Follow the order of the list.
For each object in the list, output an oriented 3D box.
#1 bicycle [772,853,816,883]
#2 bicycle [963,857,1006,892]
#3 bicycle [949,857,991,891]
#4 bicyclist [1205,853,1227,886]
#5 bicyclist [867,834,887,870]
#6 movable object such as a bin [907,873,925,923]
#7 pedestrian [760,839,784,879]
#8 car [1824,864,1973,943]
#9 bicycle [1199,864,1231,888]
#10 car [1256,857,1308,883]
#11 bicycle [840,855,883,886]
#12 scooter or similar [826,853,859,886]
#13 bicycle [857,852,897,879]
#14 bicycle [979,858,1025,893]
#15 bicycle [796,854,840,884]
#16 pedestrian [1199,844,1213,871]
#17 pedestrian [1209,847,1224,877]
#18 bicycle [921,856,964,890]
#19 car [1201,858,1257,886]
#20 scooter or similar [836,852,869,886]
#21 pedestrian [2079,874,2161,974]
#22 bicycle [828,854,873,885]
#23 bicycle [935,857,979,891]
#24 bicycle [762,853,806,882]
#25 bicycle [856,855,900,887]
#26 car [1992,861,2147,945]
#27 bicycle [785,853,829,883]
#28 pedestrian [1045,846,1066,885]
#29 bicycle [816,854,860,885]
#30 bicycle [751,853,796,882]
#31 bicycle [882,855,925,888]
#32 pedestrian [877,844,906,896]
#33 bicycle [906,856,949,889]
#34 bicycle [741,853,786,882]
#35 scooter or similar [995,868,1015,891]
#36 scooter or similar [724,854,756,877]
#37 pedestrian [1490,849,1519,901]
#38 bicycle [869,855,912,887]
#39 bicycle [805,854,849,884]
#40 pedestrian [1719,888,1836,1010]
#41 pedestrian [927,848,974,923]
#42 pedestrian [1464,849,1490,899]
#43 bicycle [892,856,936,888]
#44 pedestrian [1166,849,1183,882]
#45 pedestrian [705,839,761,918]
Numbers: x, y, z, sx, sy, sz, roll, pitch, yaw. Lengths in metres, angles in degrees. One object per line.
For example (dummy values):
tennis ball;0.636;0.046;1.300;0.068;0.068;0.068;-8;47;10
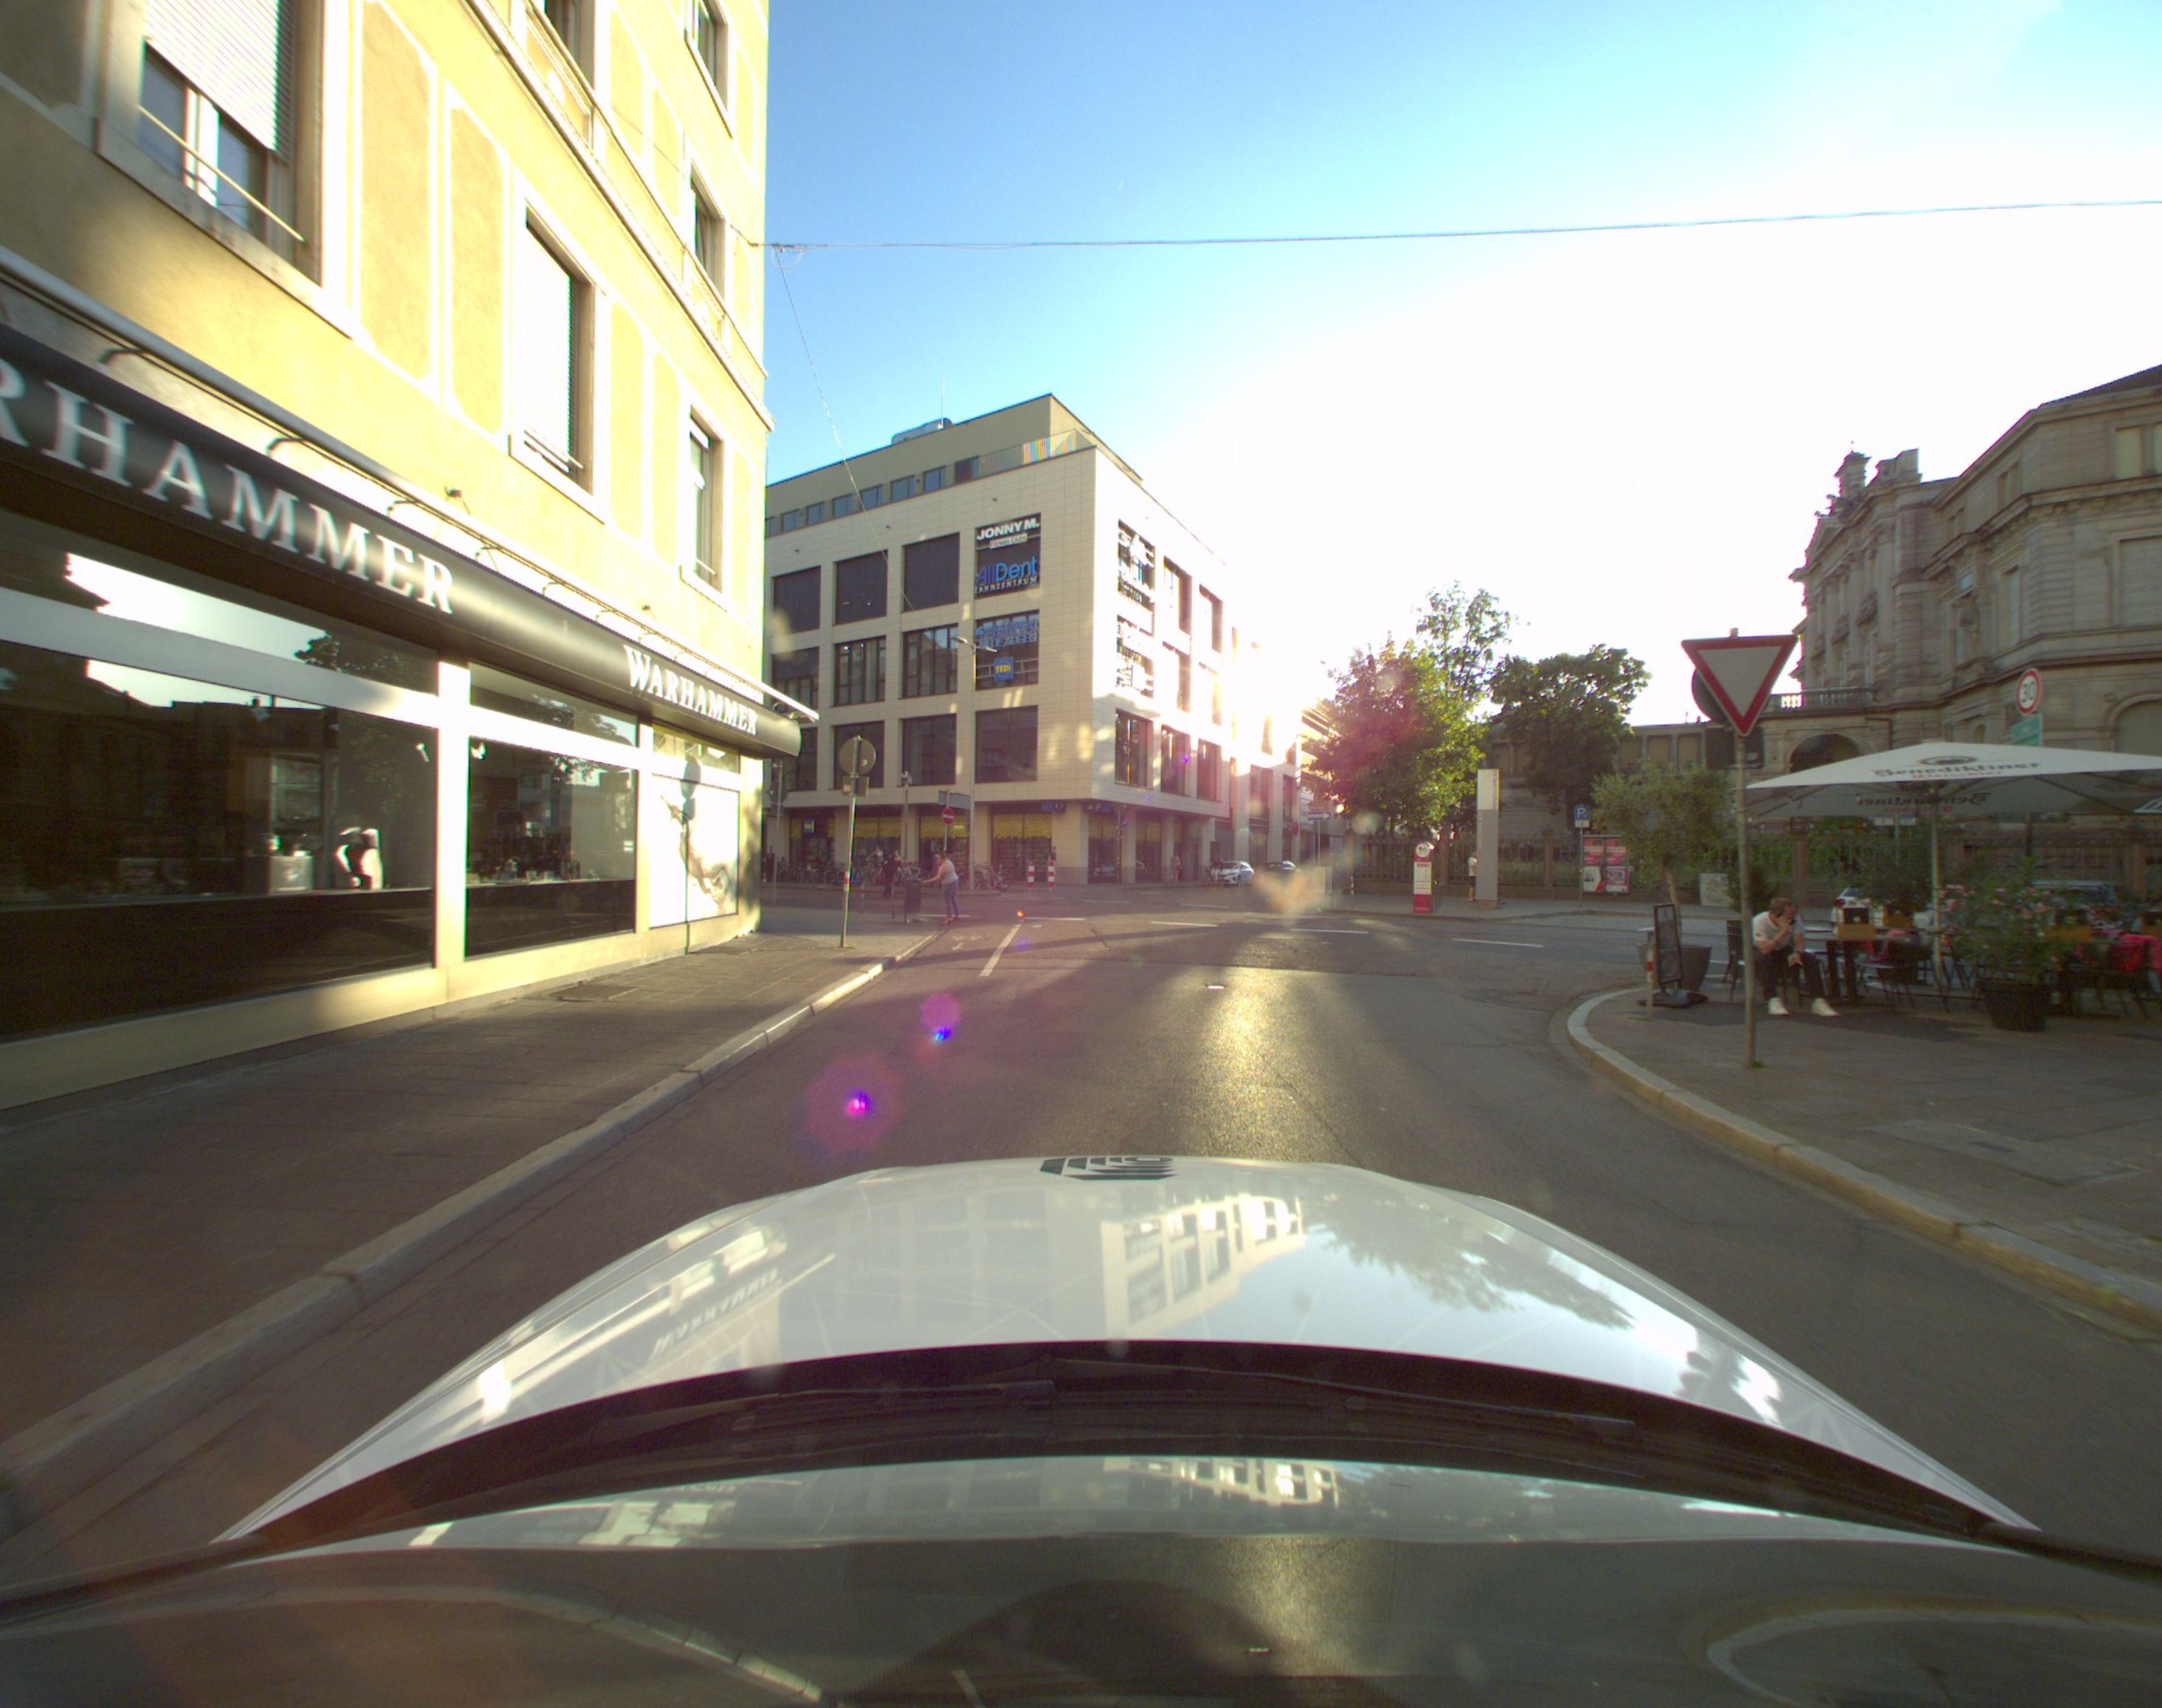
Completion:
bicycle;-12.606;0.606;35.804;0.507;1.255;1.991;1;-1;28
bicycle;-3.614;0.769;30.719;0.575;1.255;2.056;1;-1;26
bicycle;-4.198;0.758;30.965;0.507;1.255;1.990;1;-1;26
bicyclist;6.605;0.766;39.883;0.652;1.570;0.868;1;-1;42
bicyclist;-9.765;-0.110;38.991;0.636;1.695;0.688;1;0;30
movable object such as a bin;-3.543;0.944;17.524;0.359;1.063;0.355;1;-1;-12
pedestrian;-13.291;0.227;34.980;0.636;1.695;0.688;1;0;32
car;19.785;1.112;19.674;3.925;1.446;1.737;-4;2;-32
bicycle;6.548;1.081;39.817;0.657;1.138;1.833;1;-1;42
car;13.128;0.988;53.028;1.865;1.598;4.718;1;0;32
bicycle;-9.076;0.670;33.789;0.507;1.255;1.990;1;-1;27
scooter or similar;-9.088;0.599;31.108;0.383;1.212;1.278;1;-1;28
bicycle;-9.759;0.547;38.941;1.954;1.255;0.616;1;-1;29
bicycle;-2.916;0.783;30.415;0.658;1.255;2.153;1;-1;26
bicycle;-11.332;0.630;35.197;0.507;1.255;1.991;1;-1;28
pedestrian;7.751;0.226;50.532;0.665;1.675;0.651;1;0;27
pedestrian;8.355;0.467;50.232;0.665;1.836;0.651;1;0;27
bicycle;-5.362;0.737;31.678;0.507;1.255;1.991;1;-1;28
car;8.269;0.968;45.214;1.761;1.453;4.256;1;0;28
scooter or similar;-8.612;0.575;30.772;0.383;1.260;1.278;1;-1;28
pedestrian;13.749;0.900;10.666;0.684;1.245;0.599;1;0;-10
bicycle;-9.629;0.659;34.079;0.507;1.255;1.991;1;-1;28
bicycle;-4.750;0.748;31.240;0.507;1.255;1.991;1;-1;30
bicycle;-13.136;0.596;36.071;0.507;1.255;1.991;1;-1;28
bicycle;-8.321;0.684;33.448;0.507;1.255;1.991;1;-1;28
car;22.170;1.001;18.243;4.014;1.525;1.737;-2;1;-32
bicycle;-11.934;0.619;35.501;0.507;1.255;1.991;1;-1;28
pedestrian;-1.143;0.496;36.004;0.638;1.723;0.838;1;0;-26
bicycle;-10.271;0.648;34.518;0.507;1.255;1.991;1;-1;28
bicycle;-13.704;0.585;36.333;0.507;1.255;1.991;1;-1;28
bicycle;-7.092;0.706;32.647;0.507;1.255;1.991;1;-1;28
pedestrian;-6.141;0.525;26.346;0.870;1.658;0.616;1;0;-15
bicycle;-6.030;0.725;32.078;0.507;1.255;1.990;1;-1;27
bicycle;-14.336;0.624;36.834;0.507;1.255;1.991;1;-1;28
scooter or similar;-2.977;0.982;32.018;0.383;0.884;0.774;1;-1;28
scooter or similar;-14.609;0.495;34.909;0.383;0.992;1.278;1;-1;28
pedestrian;13.819;0.674;26.601;0.698;1.670;0.645;1;1;16
bicycle;-7.699;0.695;33.012;0.507;1.255;1.991;1;-1;28
bicycle;-10.818;0.638;34.768;0.507;1.255;1.991;1;-1;28
pedestrian;7.398;0.980;8.689;0.602;1.188;0.824;1;0;9
pedestrian;-2.887;0.679;17.961;0.807;1.613;0.727;1;-1;-30
pedestrian;13.469;0.672;27.703;0.698;1.670;0.645;1;1;16
bicycle;-6.612;0.714;32.348;0.507;1.255;1.991;1;-1;28
pedestrian;5.043;0.625;43.849;0.665;1.744;0.651;0;-1;30
pedestrian;-7.307;0.501;17.137;0.728;1.613;0.807;1;-1;9
